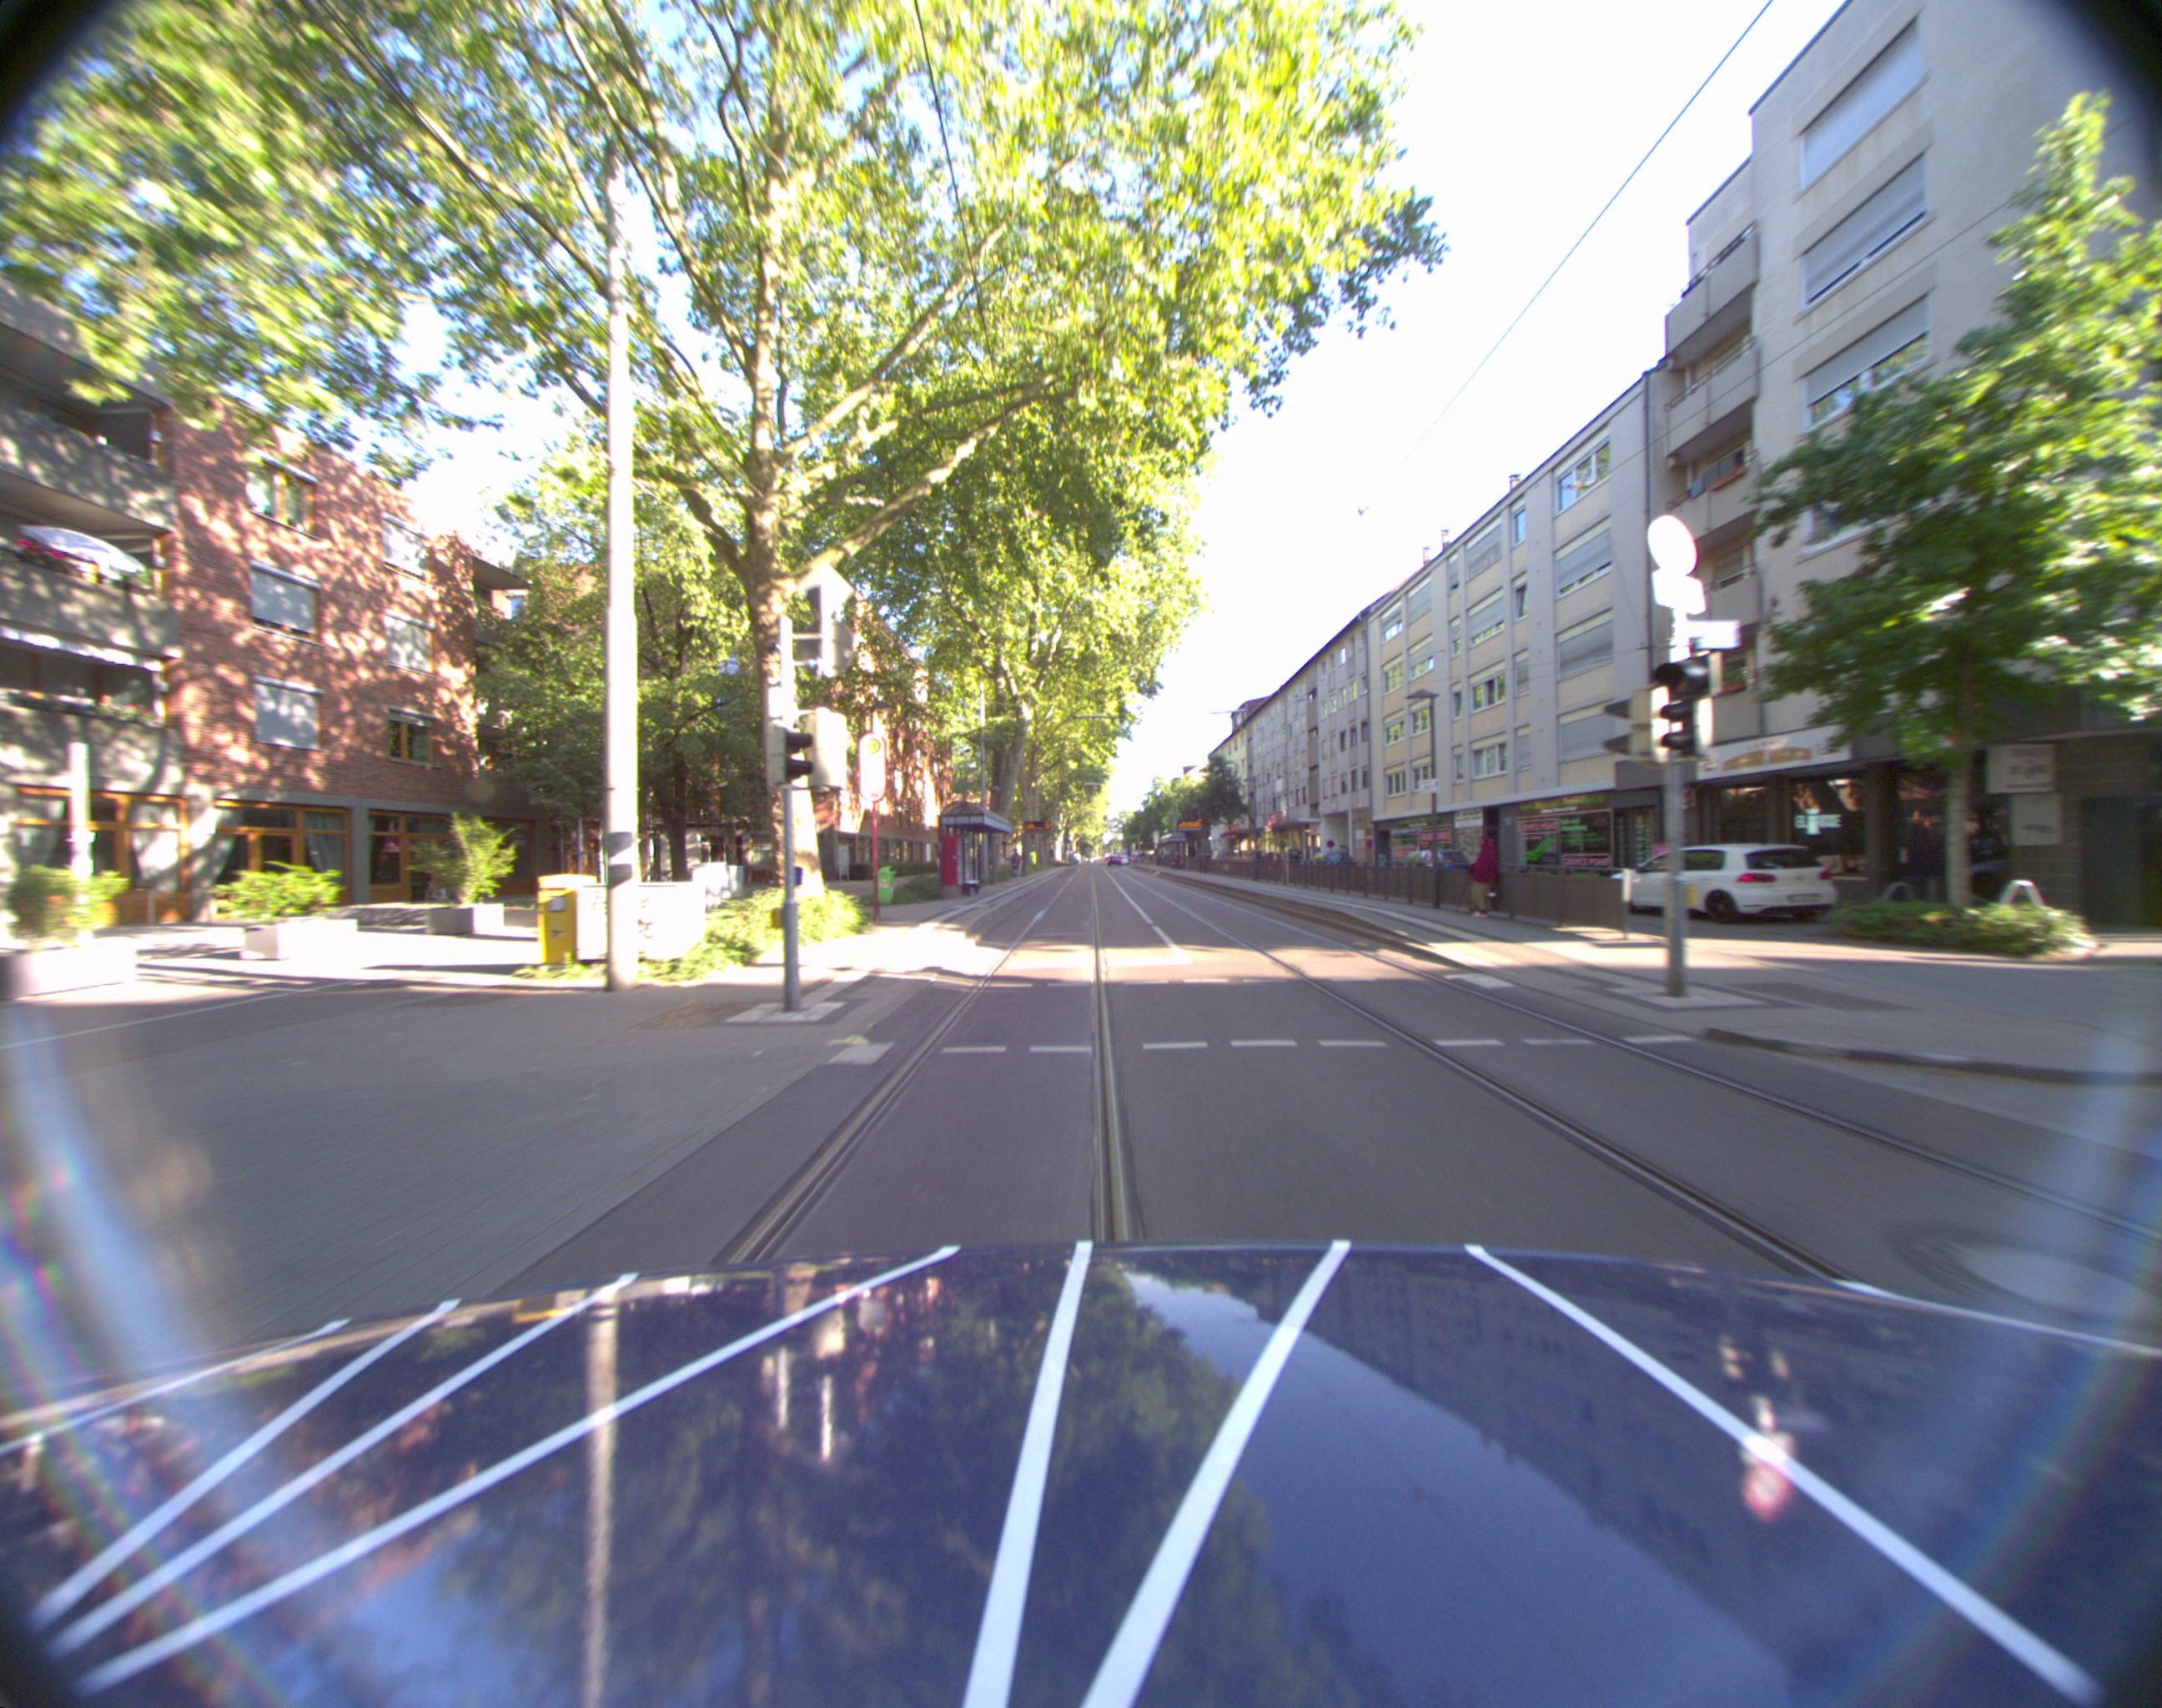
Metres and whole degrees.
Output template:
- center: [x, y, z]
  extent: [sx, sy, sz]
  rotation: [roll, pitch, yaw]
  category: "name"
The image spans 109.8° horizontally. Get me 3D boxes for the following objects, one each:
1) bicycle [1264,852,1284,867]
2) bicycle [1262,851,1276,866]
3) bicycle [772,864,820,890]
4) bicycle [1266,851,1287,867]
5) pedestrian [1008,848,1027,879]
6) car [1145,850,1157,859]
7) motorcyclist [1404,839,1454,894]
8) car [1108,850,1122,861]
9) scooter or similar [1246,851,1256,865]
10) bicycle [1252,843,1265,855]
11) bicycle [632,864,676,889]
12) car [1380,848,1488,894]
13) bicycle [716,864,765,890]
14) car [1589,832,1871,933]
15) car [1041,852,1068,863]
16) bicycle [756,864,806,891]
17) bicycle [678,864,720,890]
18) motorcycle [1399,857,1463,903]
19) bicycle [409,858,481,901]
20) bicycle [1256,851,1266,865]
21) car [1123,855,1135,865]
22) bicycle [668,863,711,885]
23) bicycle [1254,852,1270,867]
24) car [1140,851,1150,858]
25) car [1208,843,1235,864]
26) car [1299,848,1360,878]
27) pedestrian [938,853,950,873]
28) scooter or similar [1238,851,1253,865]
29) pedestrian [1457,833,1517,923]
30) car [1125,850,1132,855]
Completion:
- center: [14.279, 0.400, 56.227]
  extent: [0.561, 1.150, 2.028]
  rotation: [-1, 0, -15]
  category: "bicycle"
- center: [14.556, 0.332, 58.747]
  extent: [0.494, 1.150, 1.751]
  rotation: [-1, 0, -5]
  category: "bicycle"
- center: [-13.111, 1.051, 34.975]
  extent: [2.034, 1.150, 0.572]
  rotation: [1, 1, 11]
  category: "bicycle"
- center: [14.529, 0.384, 56.594]
  extent: [0.561, 1.150, 2.028]
  rotation: [-1, 0, -15]
  category: "bicycle"
- center: [-3.381, 0.497, 40.592]
  extent: [0.769, 1.650, 0.915]
  rotation: [-1, 1, -22]
  category: "pedestrian"
- center: [12.615, 0.128, 136.993]
  extent: [1.998, 1.521, 3.678]
  rotation: [-1, 0, 4]
  category: "car"
- center: [9.315, 0.327, 20.387]
  extent: [0.875, 1.432, 1.016]
  rotation: [-1, 1, 0]
  category: "motorcyclist"
- center: [4.694, 0.189, 105.663]
  extent: [1.766, 1.579, 3.999]
  rotation: [-1, 0, -1]
  category: "car"
- center: [13.995, 0.342, 62.628]
  extent: [0.446, 1.167, 1.274]
  rotation: [-1, 0, -4]
  category: "scooter or similar"
- center: [17.035, -0.503, 73.058]
  extent: [0.572, 1.150, 2.037]
  rotation: [-1, 0, -5]
  category: "bicycle"
- center: [-20.788, 1.066, 37.053]
  extent: [0.707, 1.150, 2.039]
  rotation: [1, 1, 10]
  category: "bicycle"
- center: [12.658, 0.570, 27.594]
  extent: [1.961, 1.535, 4.389]
  rotation: [0, 0, 1]
  category: "car"
- center: [-15.643, 1.046, 34.943]
  extent: [2.035, 1.150, 0.572]
  rotation: [1, 1, 6]
  category: "bicycle"
- center: [12.657, 0.476, 15.282]
  extent: [1.883, 1.641, 4.357]
  rotation: [-3, 0, 0]
  category: "car"
- center: [-3.933, 0.540, 114.426]
  extent: [3.872, 1.521, 2.000]
  rotation: [-1, 0, 2]
  category: "car"
- center: [-13.454, 1.043, 34.101]
  extent: [2.036, 1.150, 0.572]
  rotation: [1, 1, 1]
  category: "bicycle"
- center: [-17.610, 1.044, 35.018]
  extent: [1.681, 1.150, 0.572]
  rotation: [1, 1, 6]
  category: "bicycle"
- center: [9.333, 0.661, 20.338]
  extent: [0.851, 1.157, 1.915]
  rotation: [-1, 0, 0]
  category: "motorcycle"
- center: [-17.862, 0.705, 21.354]
  extent: [1.930, 1.150, 0.573]
  rotation: [1, 1, 16]
  category: "bicycle"
- center: [14.987, 0.310, 63.171]
  extent: [0.513, 1.150, 1.688]
  rotation: [-1, 0, 4]
  category: "bicycle"
- center: [7.577, 0.954, 119.713]
  extent: [1.766, 1.417, 4.000]
  rotation: [-1, 0, 1]
  category: "car"
- center: [-20.556, 1.040, 39.910]
  extent: [1.953, 1.150, 0.732]
  rotation: [0, 1, -25]
  category: "bicycle"
- center: [14.444, 0.415, 60.680]
  extent: [0.572, 1.150, 2.037]
  rotation: [-1, 0, -5]
  category: "bicycle"
- center: [12.796, 0.100, 152.674]
  extent: [1.998, 1.521, 3.678]
  rotation: [-1, 0, 4]
  category: "car"
- center: [13.318, -0.055, 72.257]
  extent: [1.808, 1.923, 4.049]
  rotation: [-1, 0, -1]
  category: "car"
- center: [12.622, 0.417, 38.862]
  extent: [1.799, 1.455, 4.282]
  rotation: [0, 0, 1]
  category: "car"
- center: [-11.316, 0.760, 62.858]
  extent: [0.768, 1.650, 0.917]
  rotation: [-1, 1, 1]
  category: "pedestrian"
- center: [13.832, 0.341, 63.916]
  extent: [0.447, 1.167, 1.272]
  rotation: [-1, 1, -36]
  category: "scooter or similar"
- center: [7.330, 0.424, 13.749]
  extent: [0.655, 1.576, 0.772]
  rotation: [-1, 1, 1]
  category: "pedestrian"
- center: [13.997, -0.429, 223.366]
  extent: [1.998, 1.521, 3.677]
  rotation: [-1, 0, 0]
  category: "car"
